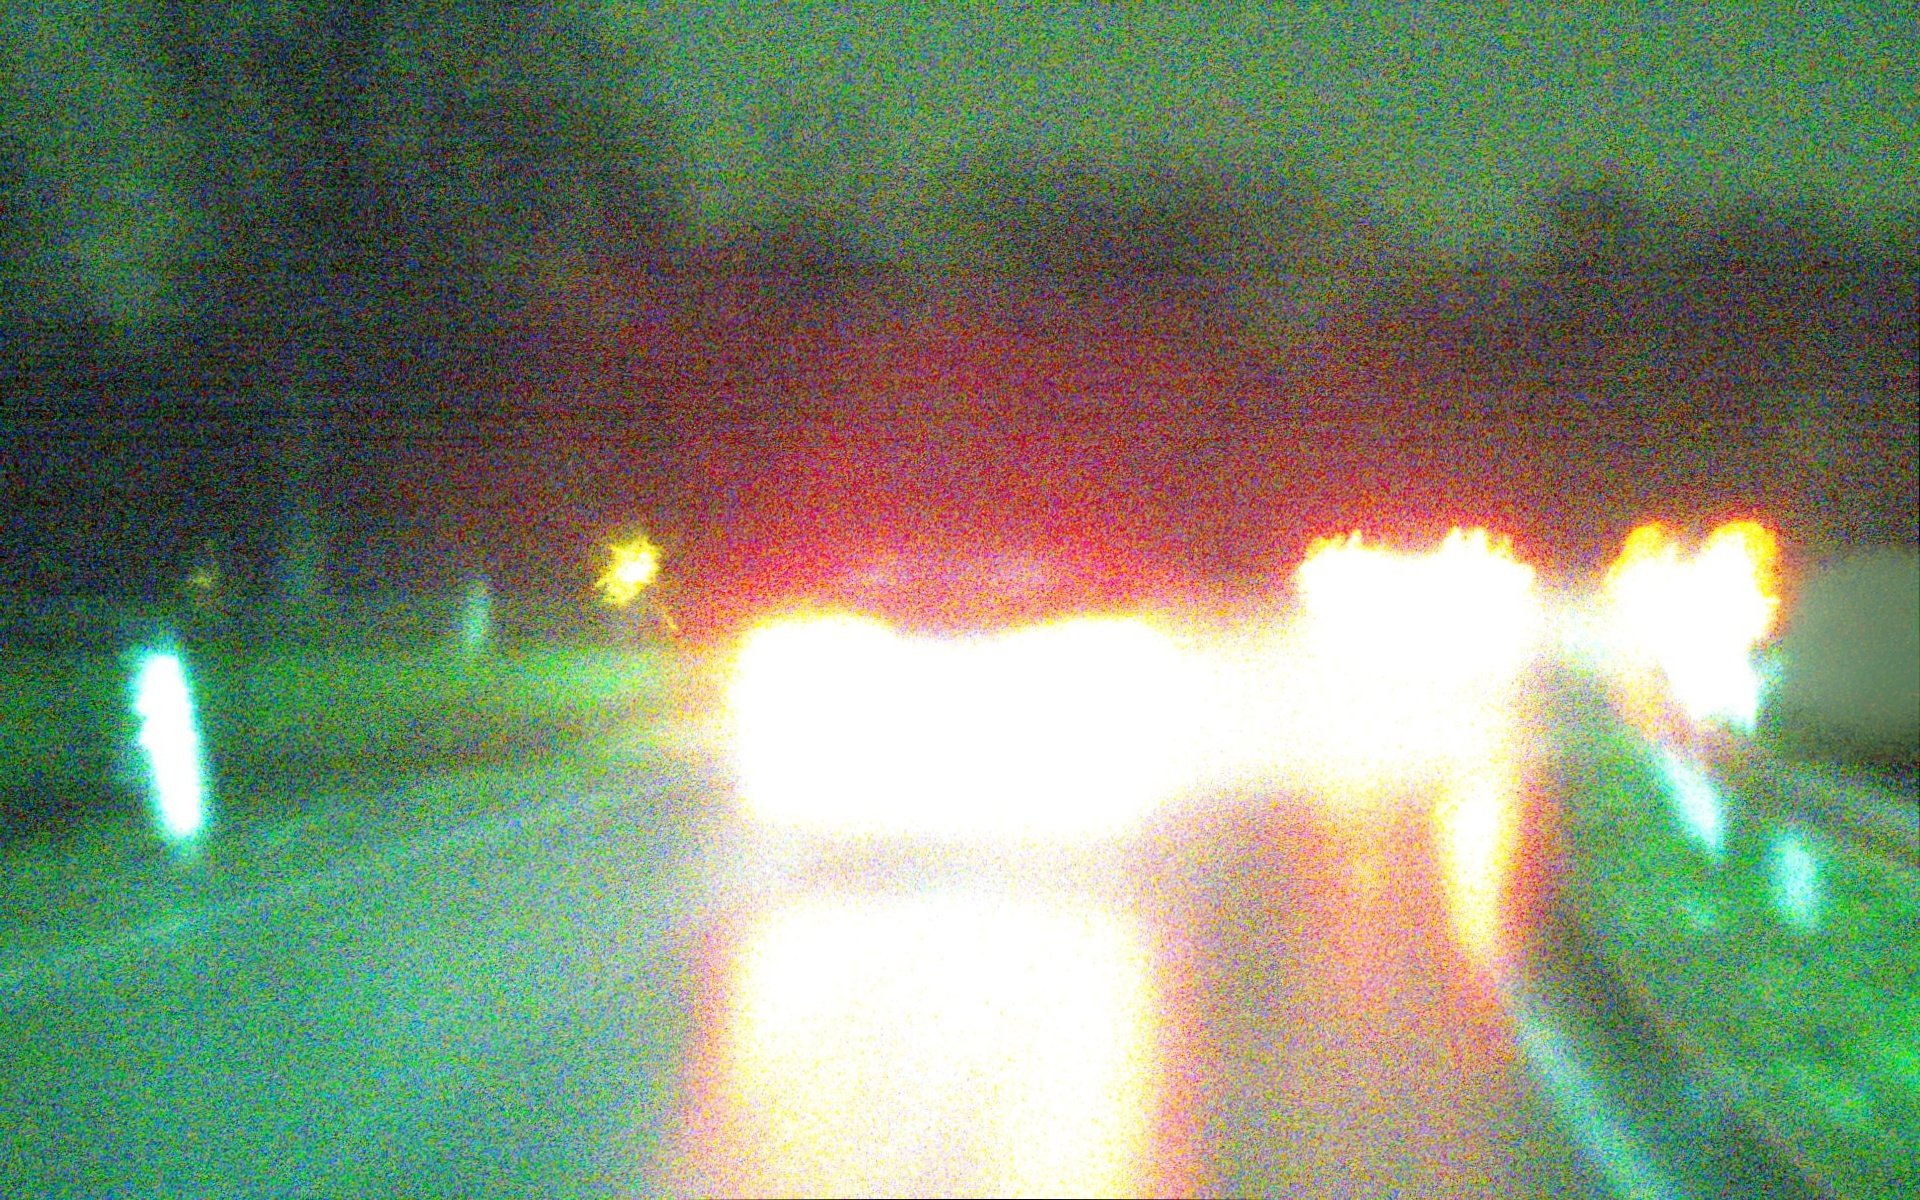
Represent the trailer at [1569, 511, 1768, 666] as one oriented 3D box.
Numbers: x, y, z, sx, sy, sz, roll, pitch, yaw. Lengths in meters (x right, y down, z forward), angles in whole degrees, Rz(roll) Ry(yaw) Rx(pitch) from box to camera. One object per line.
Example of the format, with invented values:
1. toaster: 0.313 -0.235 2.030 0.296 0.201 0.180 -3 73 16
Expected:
1. trailer: 10.727 -0.144 51.384 2.079 2.007 10.639 -2 -1 16
